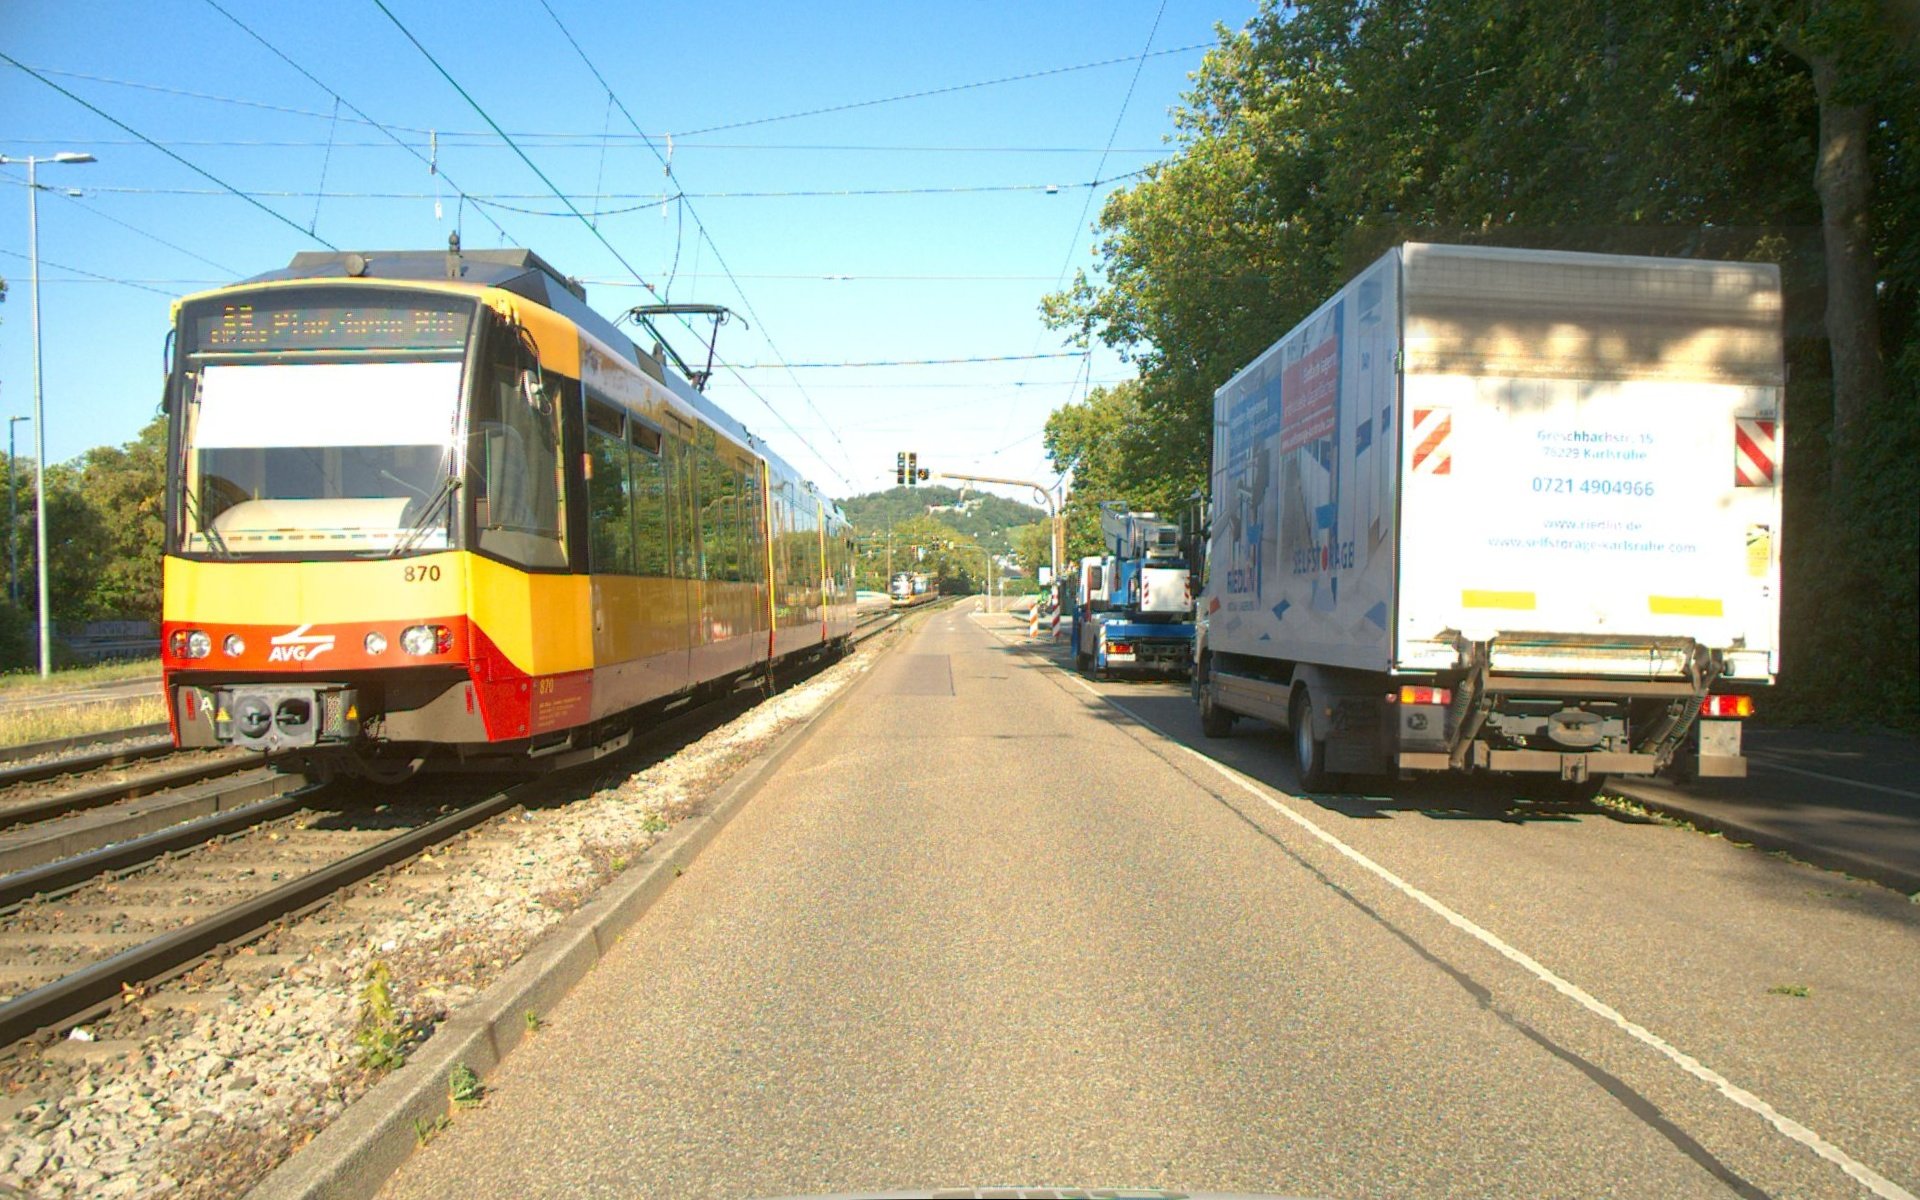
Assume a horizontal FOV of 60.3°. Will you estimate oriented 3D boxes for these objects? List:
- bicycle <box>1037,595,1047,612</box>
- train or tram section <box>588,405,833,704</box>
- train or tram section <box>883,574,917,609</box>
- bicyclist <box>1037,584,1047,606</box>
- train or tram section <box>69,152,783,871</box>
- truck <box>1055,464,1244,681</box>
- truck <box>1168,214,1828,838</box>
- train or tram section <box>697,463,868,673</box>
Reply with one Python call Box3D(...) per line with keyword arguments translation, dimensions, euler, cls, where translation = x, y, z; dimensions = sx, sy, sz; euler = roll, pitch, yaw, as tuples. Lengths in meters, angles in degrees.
Box3D(translation=(5.259, 0.215, 105.770), dimensions=(0.504, 1.060, 1.975), euler=(0, 0, -1), cls="bicycle")
Box3D(translation=(-3.910, -0.659, 28.310), dimensions=(2.639, 4.160, 9.909), euler=(-1, 0, 0), cls="train or tram section")
Box3D(translation=(-6.437, -0.932, 179.501), dimensions=(2.589, 3.629, 10.836), euler=(-1, 0, 3), cls="train or tram section")
Box3D(translation=(5.255, -0.318, 105.829), dimensions=(0.592, 1.403, 0.975), euler=(0, 0, -1), cls="bicyclist")
Box3D(translation=(-3.863, -0.538, 16.529), dimensions=(2.666, 4.162, 13.614), euler=(-1, 0, 0), cls="train or tram section")
Box3D(translation=(3.687, -0.498, 34.617), dimensions=(2.662, 3.849, 9.759), euler=(1, 0, -1), cls="truck")
Box3D(translation=(4.014, -0.466, 15.404), dimensions=(2.686, 3.849, 10.087), euler=(1, 0, -1), cls="truck")
Box3D(translation=(-3.929, -0.658, 39.642), dimensions=(2.664, 4.160, 12.812), euler=(-1, 0, 0), cls="train or tram section")
